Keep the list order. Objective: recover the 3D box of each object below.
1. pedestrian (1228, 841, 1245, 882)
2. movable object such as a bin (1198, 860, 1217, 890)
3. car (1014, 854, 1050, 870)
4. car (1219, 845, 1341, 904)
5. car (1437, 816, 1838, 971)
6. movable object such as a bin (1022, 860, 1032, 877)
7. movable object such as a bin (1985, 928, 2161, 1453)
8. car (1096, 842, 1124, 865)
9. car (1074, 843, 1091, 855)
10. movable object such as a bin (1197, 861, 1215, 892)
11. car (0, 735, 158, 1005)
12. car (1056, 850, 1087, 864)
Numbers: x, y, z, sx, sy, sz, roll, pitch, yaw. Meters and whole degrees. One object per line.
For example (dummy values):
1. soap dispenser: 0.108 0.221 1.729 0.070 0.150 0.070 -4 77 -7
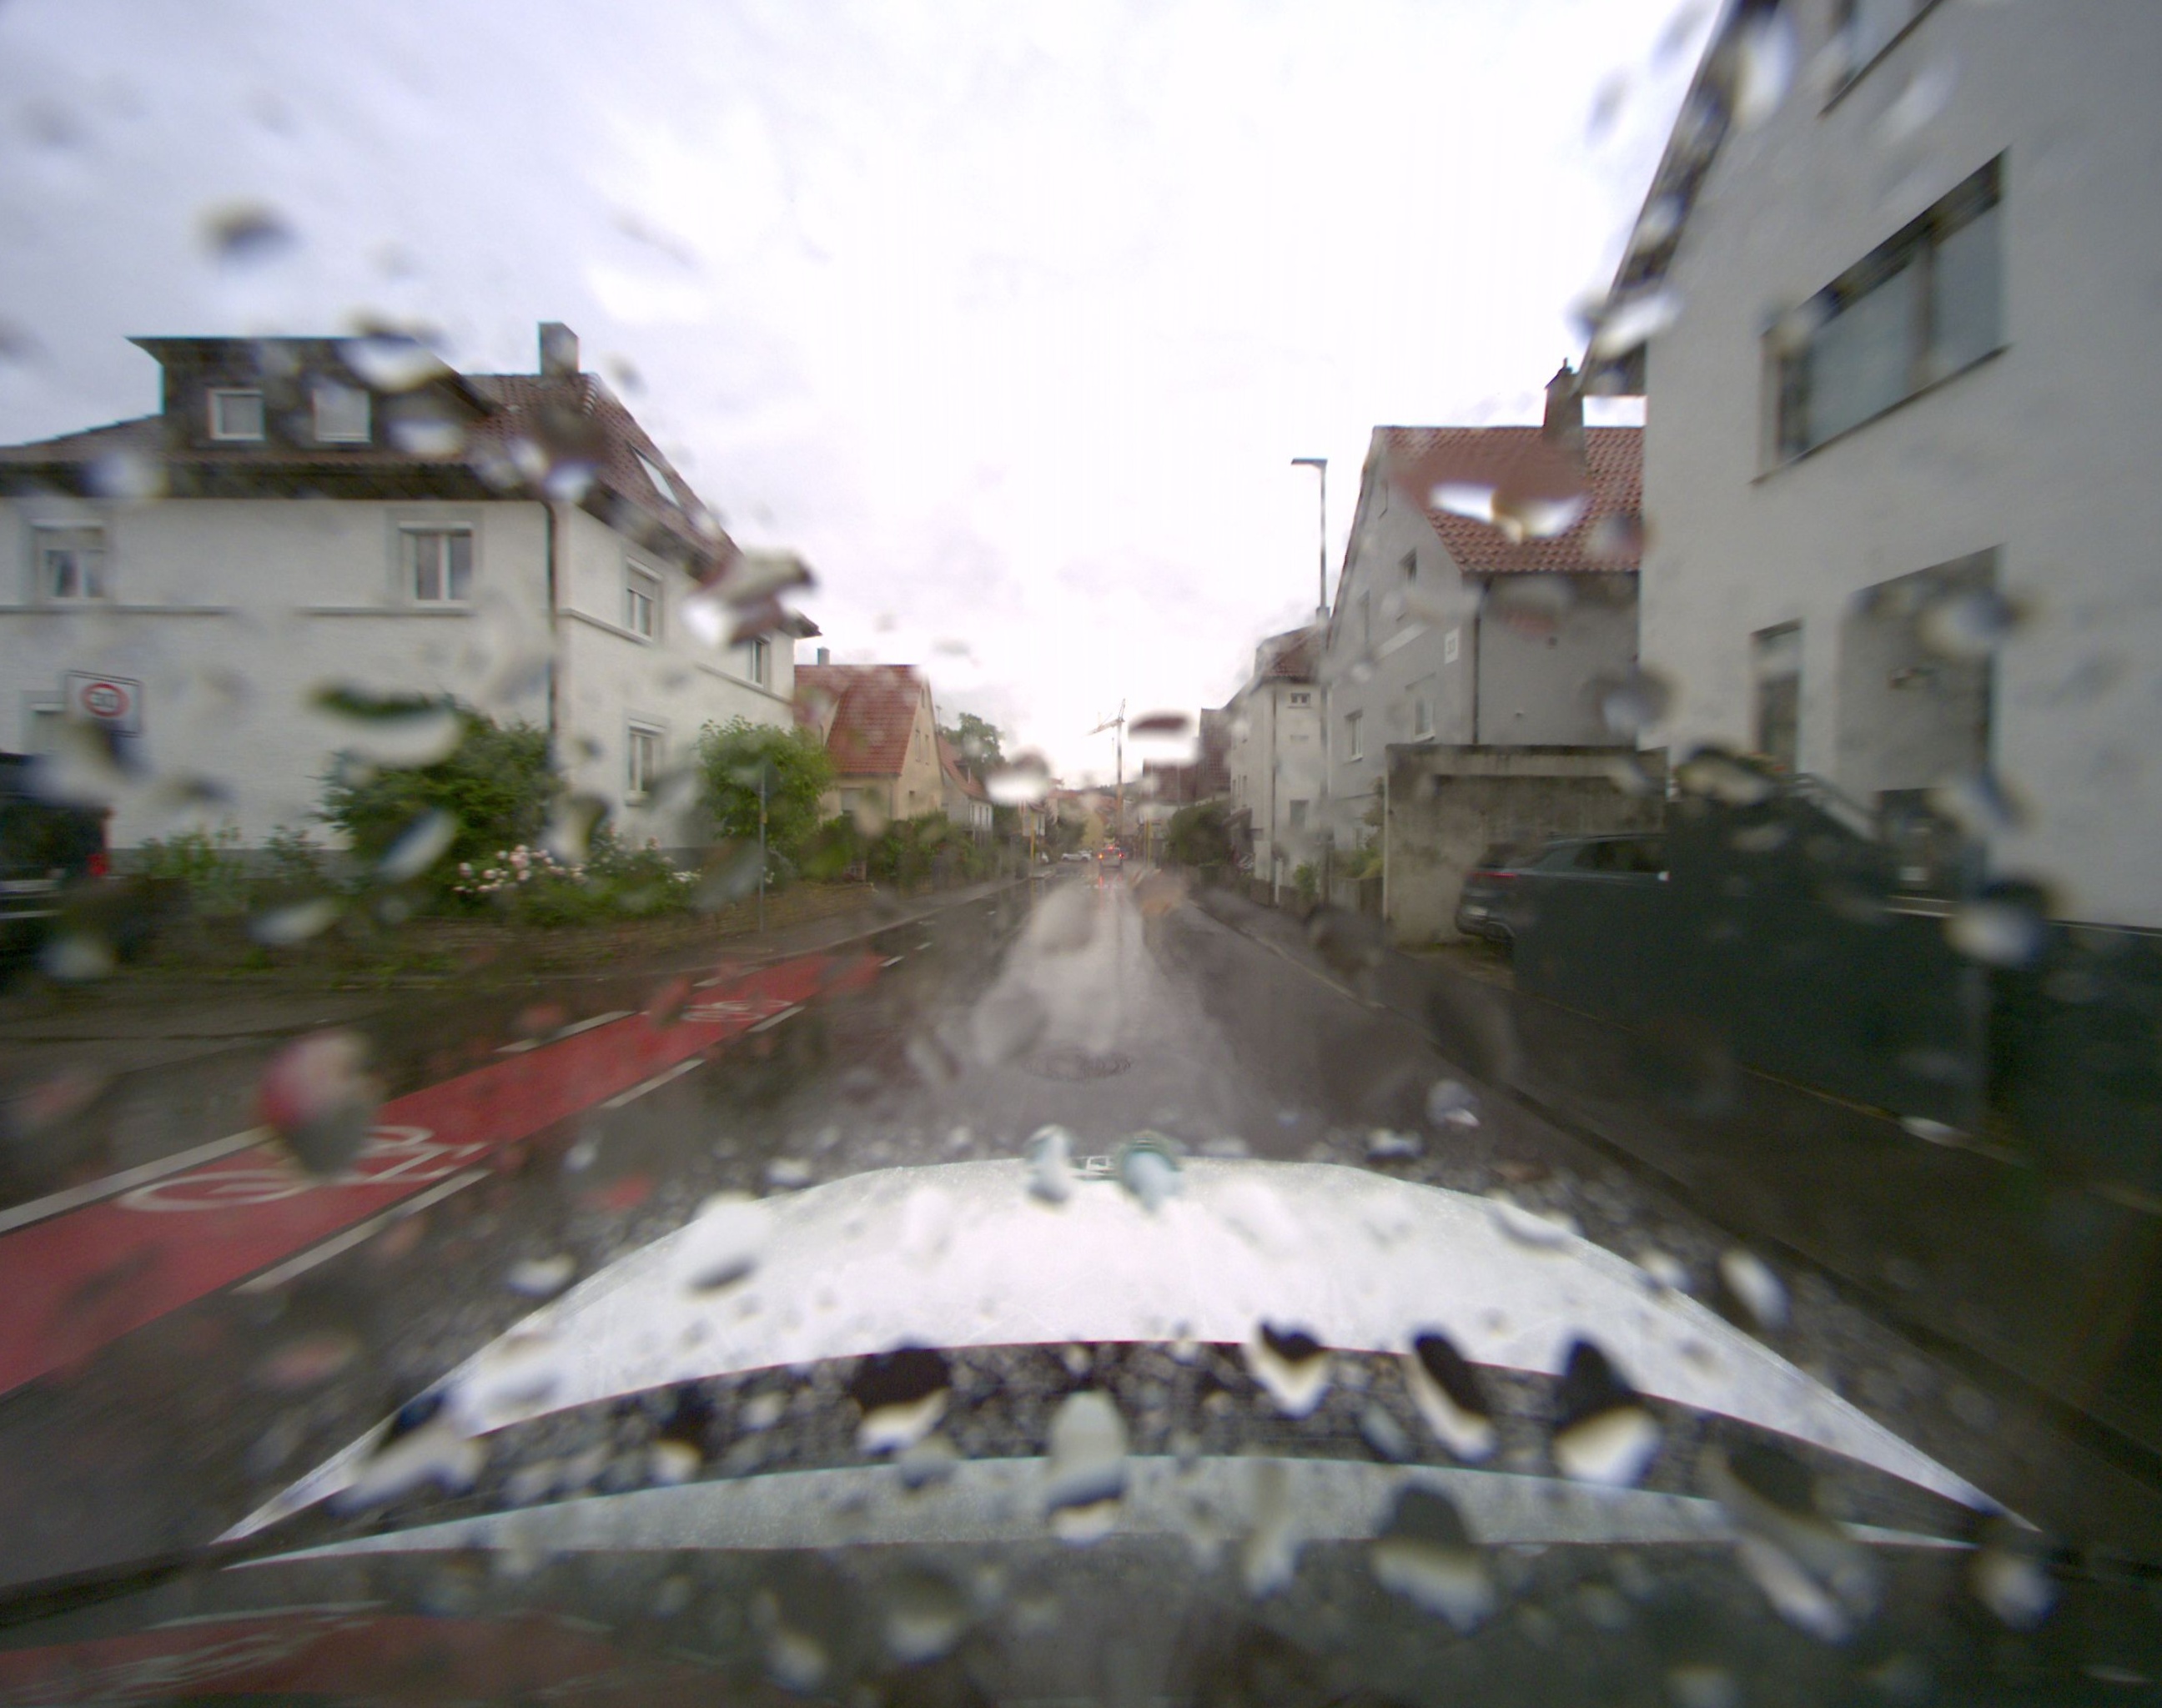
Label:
1. pedestrian: 6.616 0.315 34.733 0.626 1.726 0.619 0 0 2
2. movable object such as a bin: 4.526 0.746 29.138 0.566 1.077 0.537 0 0 -1
3. car: -5.226 0.873 86.893 3.530 1.529 1.664 2 0 3
4. car: 6.342 0.642 26.201 3.432 1.481 1.581 6 0 1
5. car: 6.473 0.435 9.788 3.577 1.583 1.818 -2 -1 -2
6. movable object such as a bin: -3.122 0.838 46.826 0.466 0.938 0.455 3 2 4
7. movable object such as a bin: 2.803 0.804 1.994 0.566 1.186 0.537 -1 0 -1
8. car: 2.387 -0.020 67.348 2.173 1.869 4.001 0 -1 2
9. car: 0.201 -0.789 127.911 1.587 1.677 3.957 1 2 17
10. movable object such as a bin: 4.485 0.803 29.193 0.566 1.077 0.537 0 0 -1
11. car: -13.109 0.138 7.956 5.411 2.606 2.289 0 0 -2
12. car: -1.227 0.443 110.227 3.964 1.794 1.808 0 -1 8
